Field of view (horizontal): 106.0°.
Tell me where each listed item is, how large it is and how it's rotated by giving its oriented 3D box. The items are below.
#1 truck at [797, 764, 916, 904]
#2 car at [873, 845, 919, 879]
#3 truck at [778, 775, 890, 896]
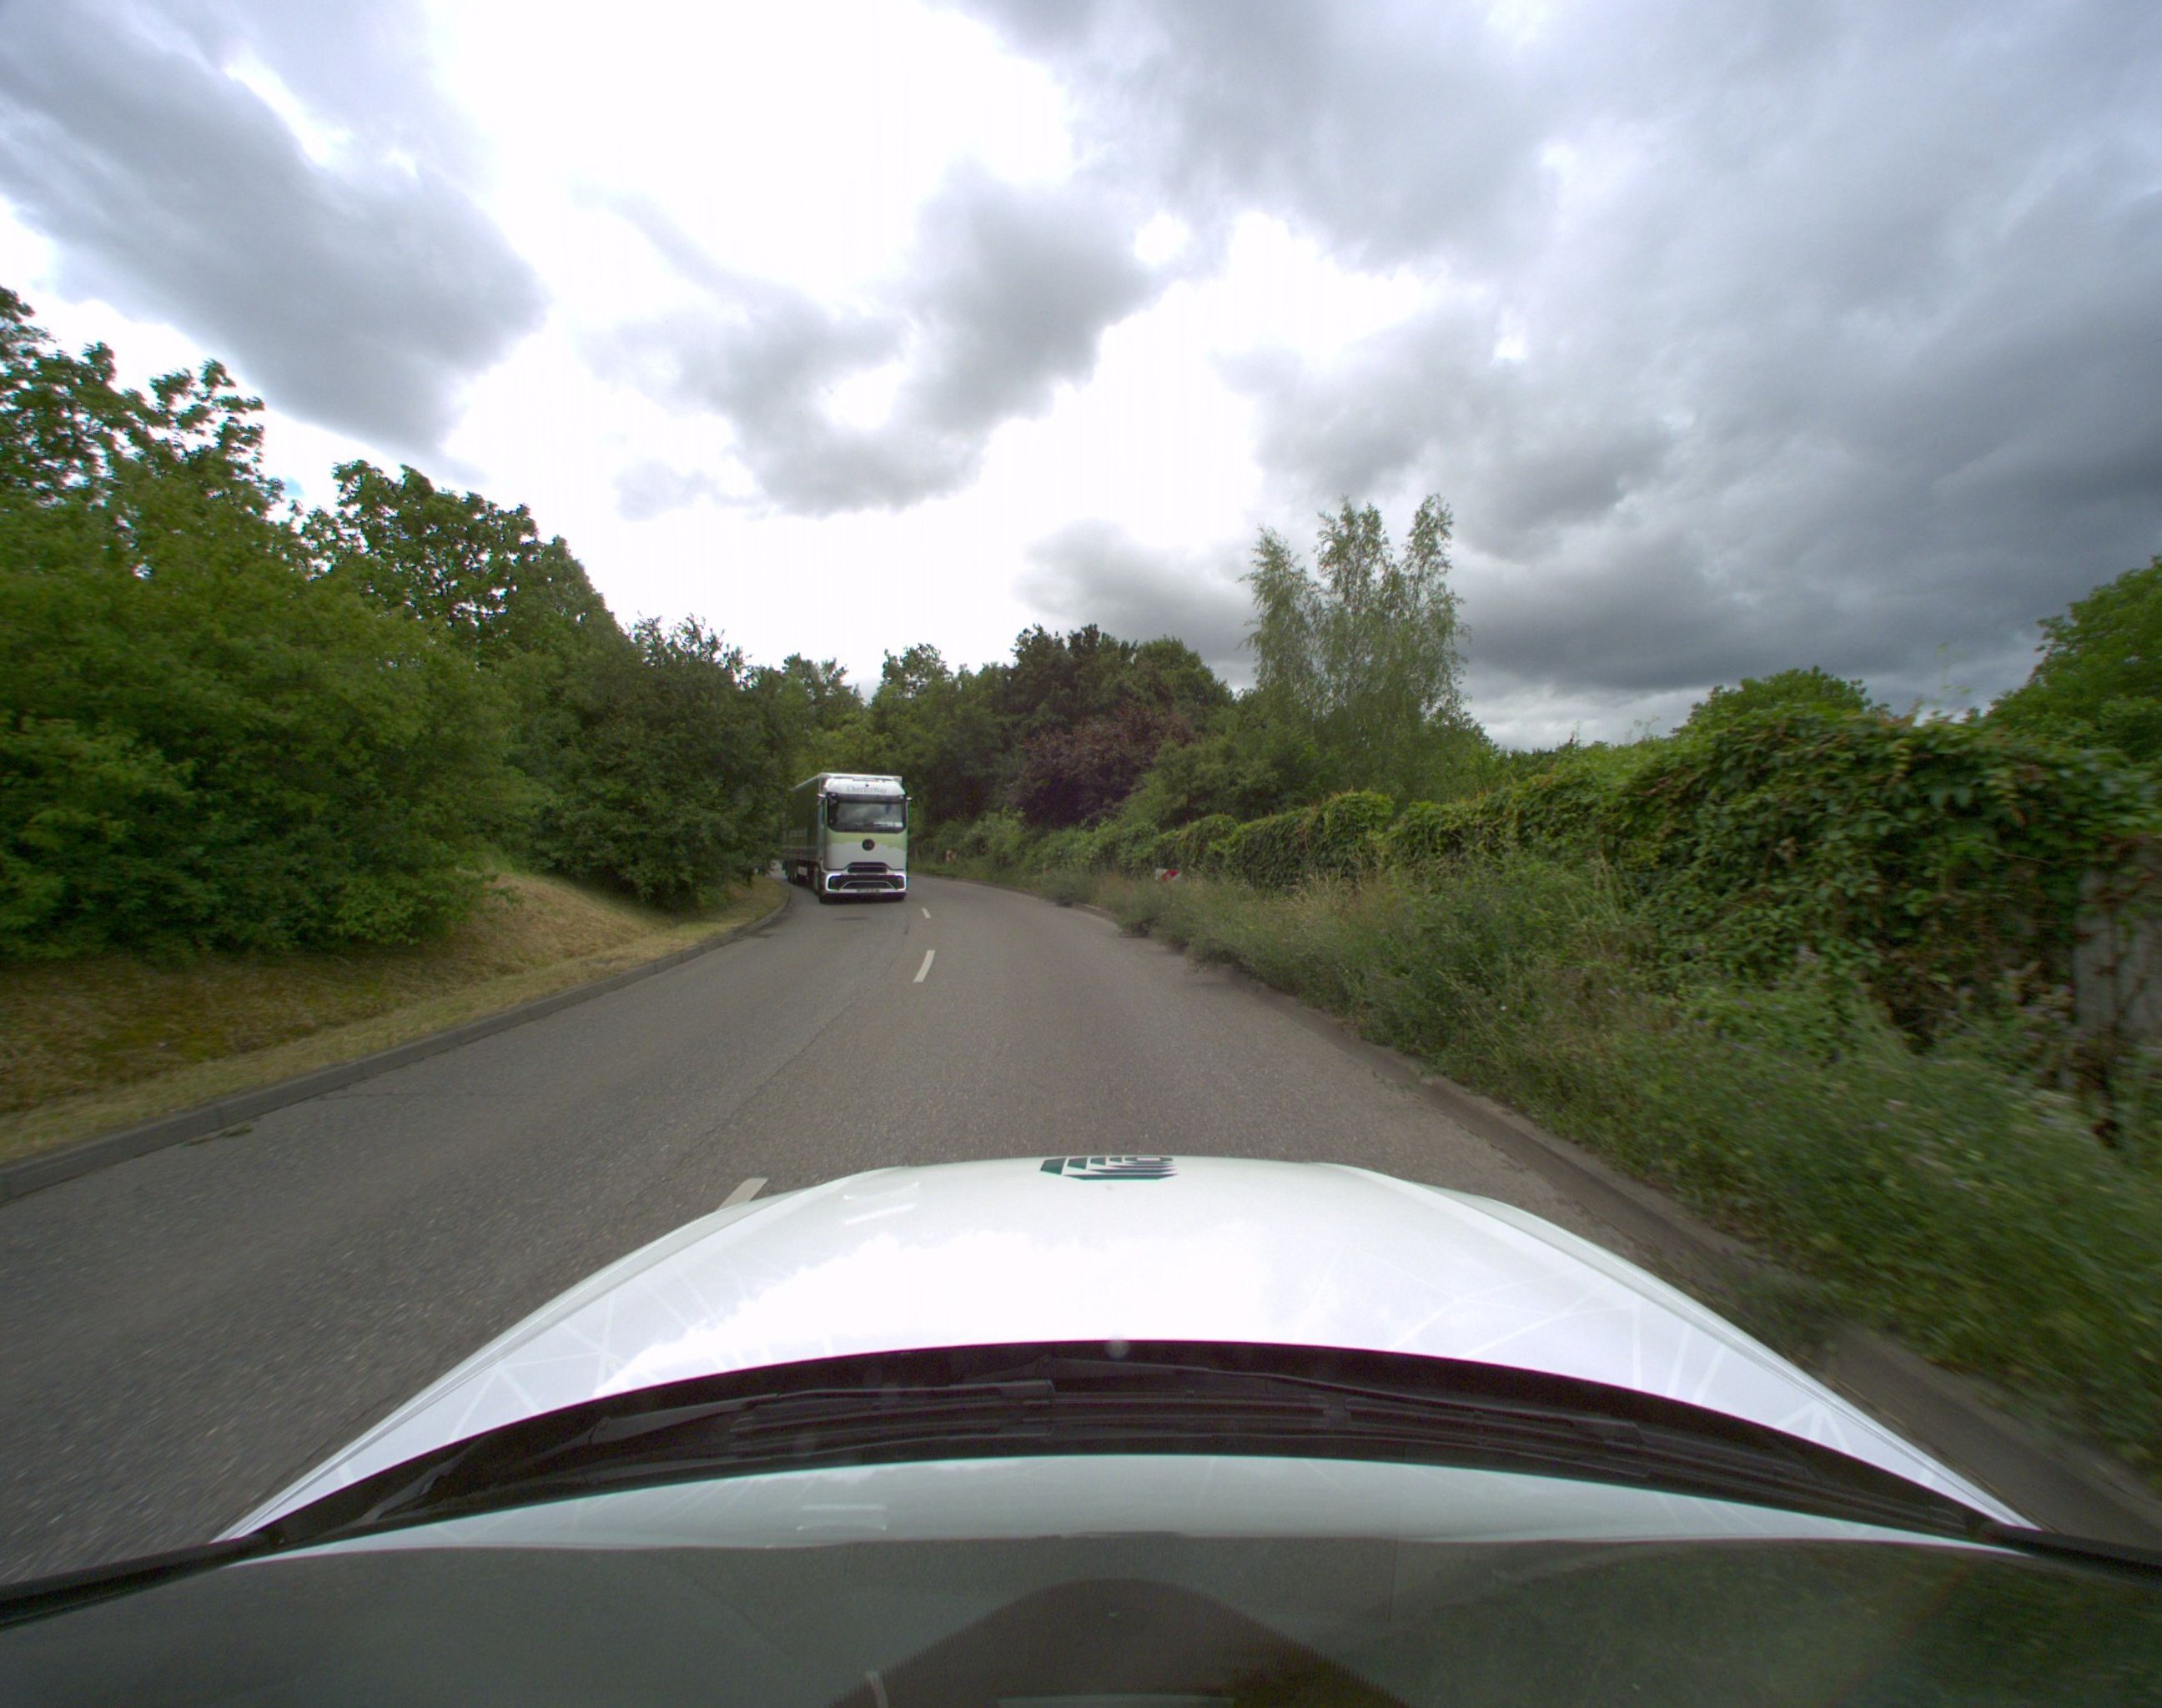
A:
[{"bbox_3d":[-7.444,-0.615,26.407,2.717,3.950,6.278,-1,1,-25],"label":"truck"},{"bbox_3d":[-9.177,0.442,40.114,1.844,1.483,3.976,-3,-1,-18],"label":"car"},{"bbox_3d":[-10.555,-0.685,33.499,2.717,3.950,13.724,-1,1,-24],"label":"truck"}]
